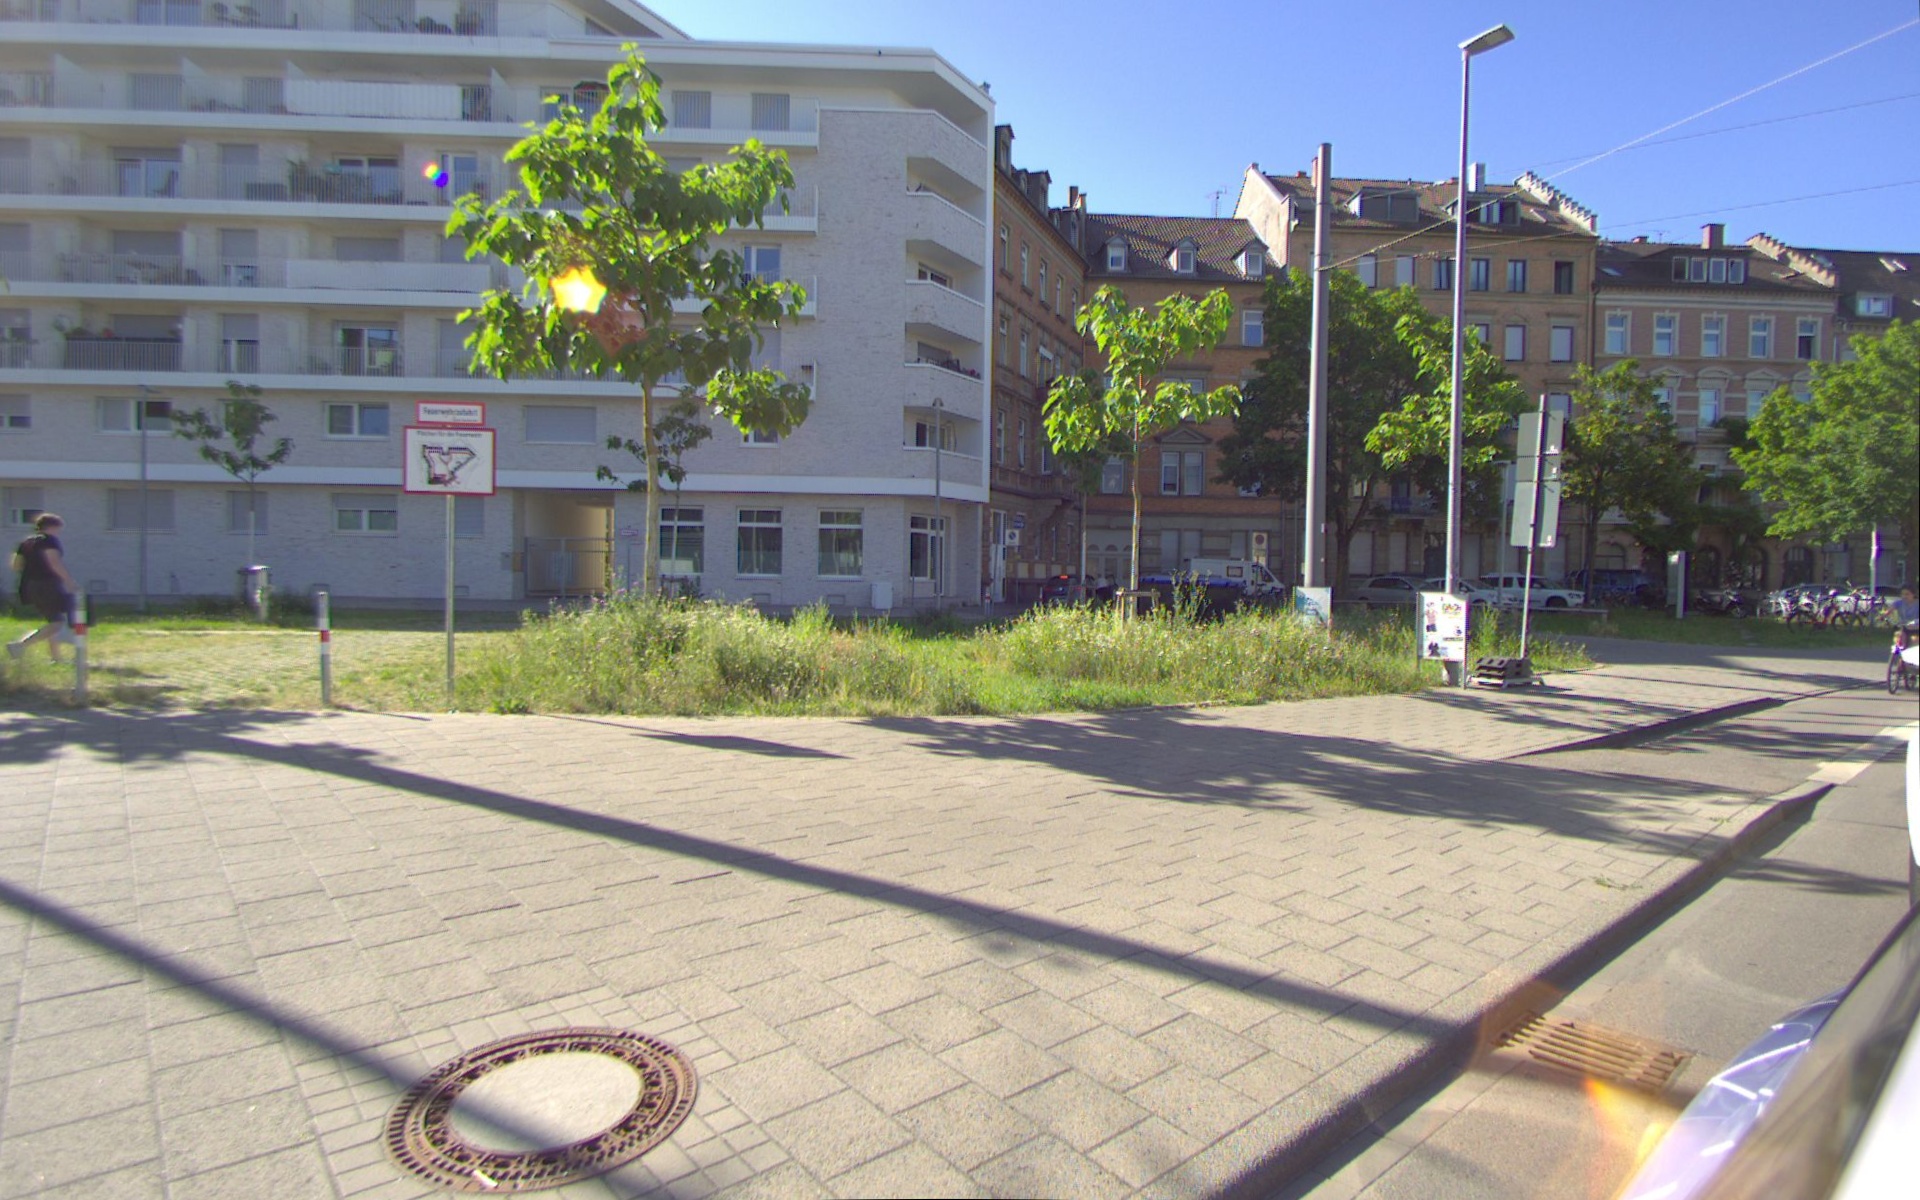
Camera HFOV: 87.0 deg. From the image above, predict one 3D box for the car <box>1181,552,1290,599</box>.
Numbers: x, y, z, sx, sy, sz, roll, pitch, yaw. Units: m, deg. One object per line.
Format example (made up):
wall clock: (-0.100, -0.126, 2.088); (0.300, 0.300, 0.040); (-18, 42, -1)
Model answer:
car: (12.659, -1.154, 46.784); (4.416, 2.062, 2.054); (1, 2, 0)

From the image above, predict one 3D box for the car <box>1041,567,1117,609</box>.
car: (4.564, -0.505, 38.299); (1.811, 1.444, 4.359); (1, 2, 21)

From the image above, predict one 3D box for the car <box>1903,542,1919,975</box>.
car: (5.865, 0.610, 4.718); (4.323, 1.667, 1.840); (0, 0, -43)

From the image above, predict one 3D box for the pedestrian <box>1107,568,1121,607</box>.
pedestrian: (5.769, -0.471, 37.910); (0.500, 1.474, 0.480); (0, 0, 11)

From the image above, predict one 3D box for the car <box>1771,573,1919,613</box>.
car: (34.683, -0.317, 39.593); (1.651, 1.423, 4.324); (-1, 3, -38)

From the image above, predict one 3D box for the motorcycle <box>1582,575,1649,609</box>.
motorcycle: (26.024, -0.326, 40.226); (0.649, 1.293, 2.324); (0, 0, -18)

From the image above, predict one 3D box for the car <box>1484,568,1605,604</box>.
car: (22.327, -0.576, 38.774); (1.513, 1.267, 3.700); (-1, 3, -39)

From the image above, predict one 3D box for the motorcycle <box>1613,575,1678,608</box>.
motorcycle: (27.486, -0.332, 40.612); (0.649, 1.284, 2.209); (0, 0, -18)

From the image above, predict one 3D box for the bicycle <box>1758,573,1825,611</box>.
bicycle: (29.272, -0.289, 35.674); (0.651, 1.284, 2.202); (0, 0, 4)

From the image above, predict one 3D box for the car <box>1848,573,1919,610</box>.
car: (37.820, -0.325, 39.962); (1.649, 1.423, 3.832); (-1, 3, -32)

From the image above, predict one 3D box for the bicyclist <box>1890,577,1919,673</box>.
bicyclist: (14.795, 0.373, 15.560); (0.925, 1.454, 0.667); (0, 1, -44)

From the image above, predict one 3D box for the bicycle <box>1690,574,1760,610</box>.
bicycle: (28.367, -0.307, 37.566); (0.649, 1.284, 2.208); (0, 0, -11)

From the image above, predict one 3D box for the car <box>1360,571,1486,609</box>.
car: (17.347, -0.420, 38.109); (1.648, 1.267, 4.170); (0, 3, -28)

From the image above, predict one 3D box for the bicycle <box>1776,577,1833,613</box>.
bicycle: (30.938, -0.182, 37.111); (0.653, 1.284, 2.196); (0, 0, 12)

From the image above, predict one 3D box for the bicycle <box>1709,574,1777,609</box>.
bicycle: (29.722, -0.323, 38.464); (0.649, 1.284, 2.208); (0, 0, -9)

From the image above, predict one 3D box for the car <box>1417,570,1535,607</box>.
car: (19.670, -0.466, 38.719); (1.648, 1.267, 3.709); (0, 3, -28)

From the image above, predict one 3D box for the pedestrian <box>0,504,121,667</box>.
pedestrian: (-10.150, -0.176, 11.240); (0.829, 1.717, 0.985); (2, 2, 2)

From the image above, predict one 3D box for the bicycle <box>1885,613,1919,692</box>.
bicycle: (14.832, 0.799, 15.602); (1.790, 1.085, 0.668); (-1, 5, -44)

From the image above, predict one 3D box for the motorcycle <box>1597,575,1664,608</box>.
motorcycle: (26.695, -0.334, 40.358); (0.649, 1.300, 2.324); (0, 0, -18)

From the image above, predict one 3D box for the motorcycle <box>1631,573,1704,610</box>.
motorcycle: (26.152, -0.318, 37.469); (0.649, 1.339, 2.208); (0, 0, -23)

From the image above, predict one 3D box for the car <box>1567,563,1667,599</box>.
car: (30.873, -0.918, 47.650); (3.631, 1.607, 1.552); (1, 2, 0)

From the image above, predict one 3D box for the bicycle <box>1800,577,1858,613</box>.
bicycle: (32.033, -0.190, 37.335); (0.653, 1.284, 2.196); (0, 0, 12)

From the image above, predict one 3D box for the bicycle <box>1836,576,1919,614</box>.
bicycle: (31.627, -0.163, 34.764); (2.180, 1.284, 0.657); (0, 0, 25)

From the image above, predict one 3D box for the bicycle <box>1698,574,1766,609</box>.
bicycle: (29.078, -0.317, 38.153); (0.649, 1.284, 2.208); (0, 0, -9)

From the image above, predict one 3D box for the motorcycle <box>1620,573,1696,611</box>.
motorcycle: (25.336, -0.304, 36.780); (0.650, 1.347, 2.207); (0, 0, -28)
